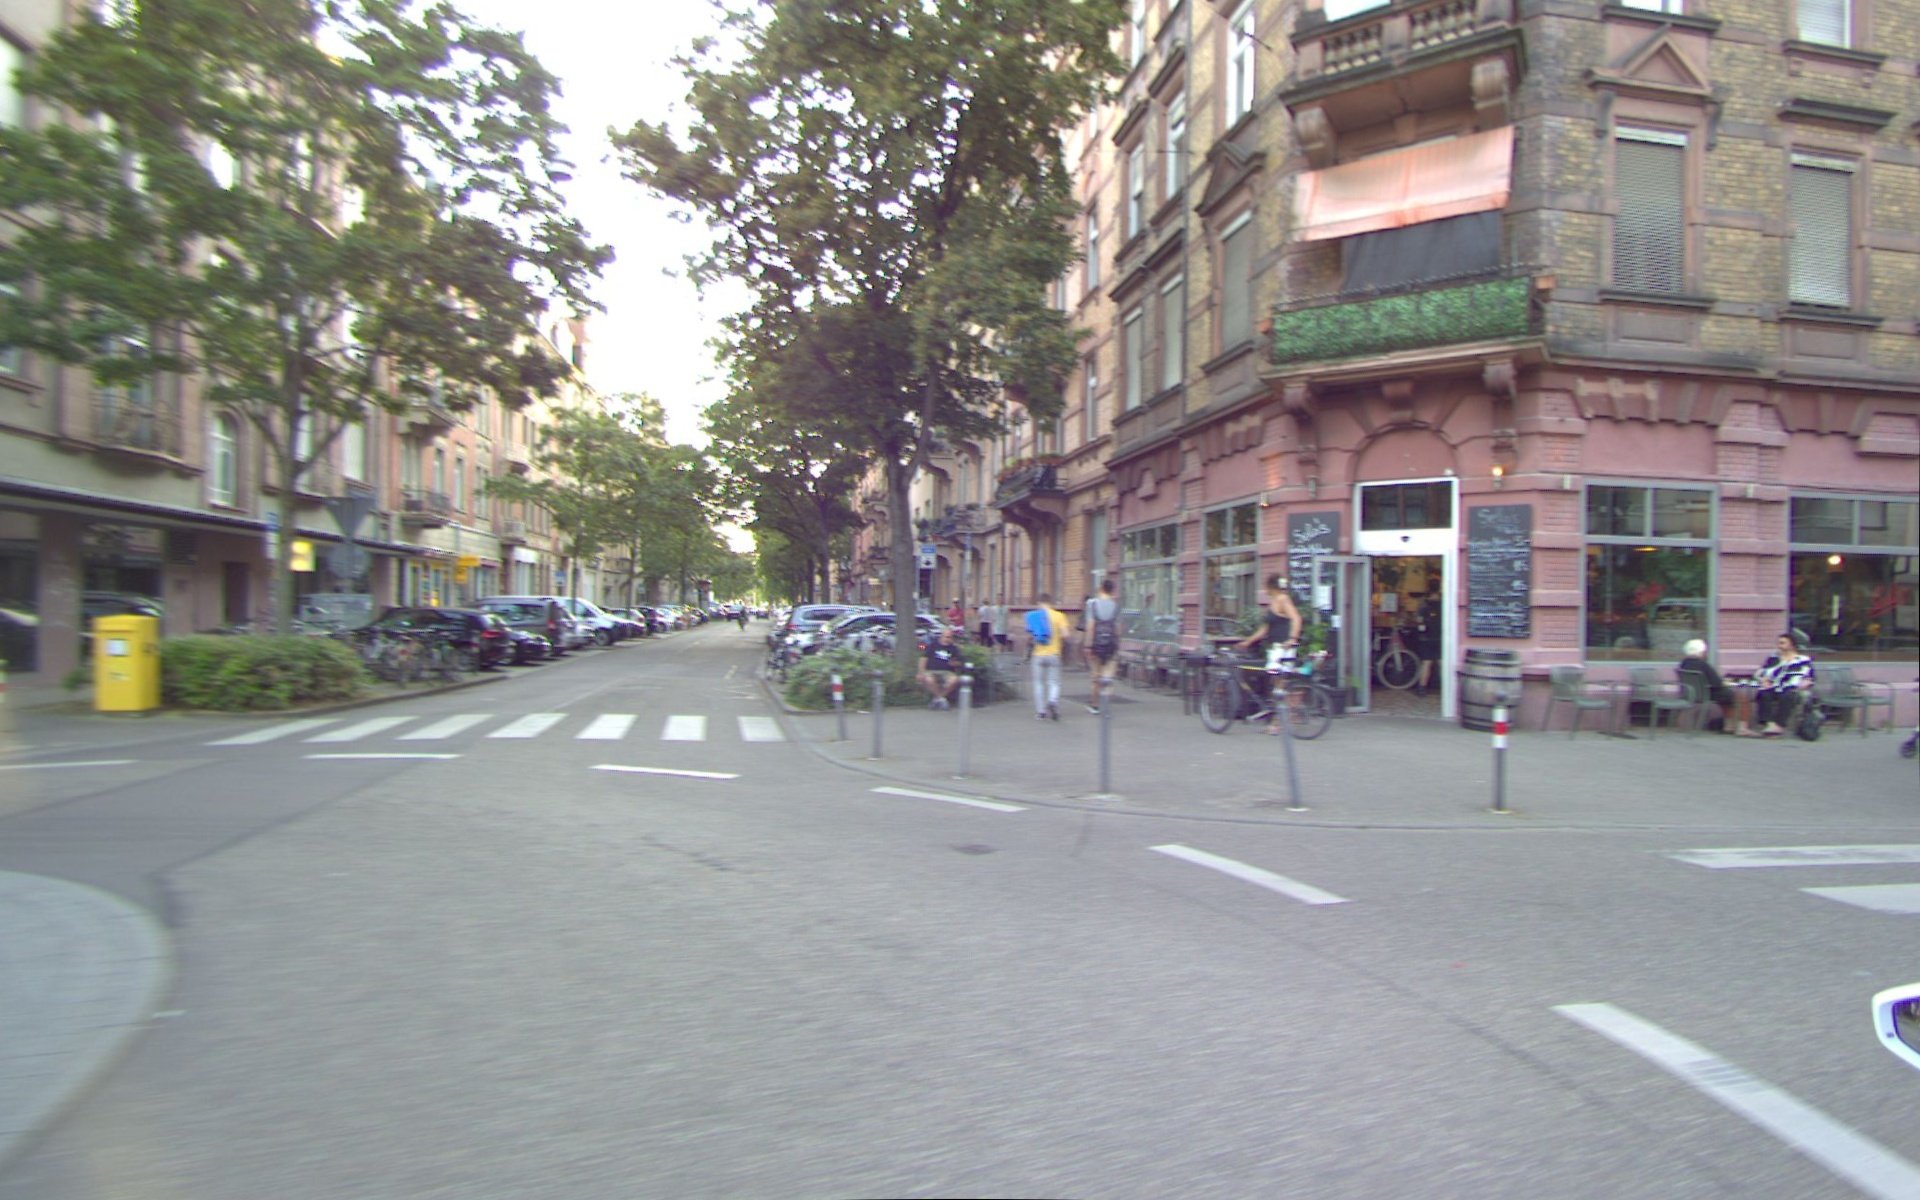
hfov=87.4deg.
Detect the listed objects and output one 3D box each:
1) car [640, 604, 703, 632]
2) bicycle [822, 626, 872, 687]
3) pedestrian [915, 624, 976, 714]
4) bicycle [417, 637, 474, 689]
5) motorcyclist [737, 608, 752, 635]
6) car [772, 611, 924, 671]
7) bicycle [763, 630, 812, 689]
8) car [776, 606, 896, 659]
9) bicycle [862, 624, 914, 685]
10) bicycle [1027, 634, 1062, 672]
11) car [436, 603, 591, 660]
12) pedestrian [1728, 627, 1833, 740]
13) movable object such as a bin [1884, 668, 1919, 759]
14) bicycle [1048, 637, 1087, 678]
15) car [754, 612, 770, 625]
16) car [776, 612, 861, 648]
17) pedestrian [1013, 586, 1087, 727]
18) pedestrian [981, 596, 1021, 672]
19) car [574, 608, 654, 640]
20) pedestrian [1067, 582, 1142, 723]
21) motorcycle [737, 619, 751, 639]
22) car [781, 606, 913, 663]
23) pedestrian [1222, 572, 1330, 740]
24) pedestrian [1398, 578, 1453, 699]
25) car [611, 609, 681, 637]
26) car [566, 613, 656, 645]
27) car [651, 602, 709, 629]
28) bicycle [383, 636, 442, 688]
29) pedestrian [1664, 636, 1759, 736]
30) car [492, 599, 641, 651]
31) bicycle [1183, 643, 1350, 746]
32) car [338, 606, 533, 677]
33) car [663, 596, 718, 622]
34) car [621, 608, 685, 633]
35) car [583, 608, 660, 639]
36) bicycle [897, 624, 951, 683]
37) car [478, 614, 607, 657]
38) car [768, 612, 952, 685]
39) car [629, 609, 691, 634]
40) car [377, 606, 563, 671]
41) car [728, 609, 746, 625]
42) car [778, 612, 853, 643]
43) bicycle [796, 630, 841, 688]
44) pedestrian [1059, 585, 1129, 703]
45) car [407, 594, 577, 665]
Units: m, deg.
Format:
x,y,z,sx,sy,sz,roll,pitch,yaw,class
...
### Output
x,y,z,sx,sy,sz,roll,pitch,yaw,class
-20.592,1.273,71.798,3.925,1.809,1.998,2,0,-6,car
-2.514,1.230,22.218,0.677,1.219,1.803,-1,1,-21,bicycle
-0.232,1.044,15.488,0.723,1.323,0.790,-2,0,-15,pedestrian
-10.032,1.219,19.637,0.468,0.907,1.488,2,0,-7,bicycle
-14.920,1.486,69.520,0.890,1.820,1.099,2,0,-13,motorcyclist
-3.422,1.221,30.378,4.395,1.647,1.886,2,0,-12,car
-3.779,1.265,21.872,0.696,1.192,1.943,-1,0,-21,bicycle
-4.800,1.235,38.613,4.395,1.824,1.973,2,0,-12,car
-1.641,1.194,22.565,0.677,1.235,1.803,-1,1,-21,bicycle
2.184,1.358,26.027,0.588,0.901,1.494,0,-1,-8,bicycle
-13.535,0.973,30.685,3.929,1.595,1.905,2,-1,-11,car
10.088,1.003,12.358,0.896,1.271,0.645,0,3,-26,pedestrian
10.503,1.222,10.651,0.717,0.928,0.761,2,0,-14,movable object such as a bin
2.556,1.365,24.067,0.588,0.901,1.494,0,-1,-8,bicycle
-26.289,2.427,133.256,1.854,1.539,3.987,2,0,-15,car
-7.043,1.476,49.989,4.057,1.610,1.762,2,0,-12,car
1.199,0.733,13.549,0.745,1.815,0.785,-2,1,-13,pedestrian
0.983,0.797,24.050,0.683,1.748,0.849,-2,1,-15,pedestrian
-18.171,1.264,52.935,3.744,1.528,1.717,2,-1,-11,car
1.970,0.690,13.798,0.744,1.853,0.887,-2,1,-9,pedestrian
-14.942,1.992,69.516,0.890,1.229,2.503,2,0,-13,motorcycle
-3.974,1.198,35.080,4.395,1.824,1.973,2,0,-12,car
3.722,0.620,11.850,1.007,1.880,0.721,0,1,39,pedestrian
6.912,0.547,14.901,0.654,1.719,0.655,1,4,33,pedestrian
-18.714,1.375,59.992,3.744,1.528,1.717,2,-1,-11,car
-16.284,1.359,47.003,3.744,1.329,1.717,2,-1,-11,car
-21.087,1.160,75.790,3.925,1.895,1.998,2,0,-6,car
-10.662,1.191,19.595,0.468,0.907,1.488,2,0,-7,bicycle
9.119,1.039,12.193,0.777,1.158,0.504,2,0,-10,pedestrian
-15.344,0.985,39.454,5.015,1.854,2.115,2,-1,-8,car
3.516,1.051,11.609,1.748,1.039,0.610,0,1,40,bicycle
-12.098,0.965,23.379,3.622,1.496,1.718,2,-1,-11,car
-21.551,0.697,80.337,3.925,1.895,1.998,2,0,-6,car
-19.745,1.332,64.692,3.744,1.528,1.717,2,-1,-11,car
-18.509,1.296,55.053,3.744,1.528,1.717,2,-1,-11,car
-0.829,1.185,22.705,0.677,1.200,1.803,-1,1,-21,bicycle
-14.209,1.213,34.356,3.744,1.329,1.717,2,-1,-11,car
-2.558,1.192,25.247,4.395,1.647,1.886,2,0,-12,car
-19.845,1.416,66.634,3.744,1.528,1.717,2,-1,-11,car
-12.524,0.997,25.926,3.931,1.530,1.848,2,-1,-13,car
-25.372,1.925,114.332,1.909,1.771,3.990,2,0,-13,car
-8.244,1.568,57.172,4.057,1.610,1.762,2,0,-12,car
-3.104,1.261,21.980,0.577,1.173,1.799,-1,0,-21,bicycle
2.176,0.696,16.421,0.743,1.836,1.046,-2,1,-15,pedestrian
-13.169,0.847,28.530,3.929,1.862,1.996,2,-1,-11,car
